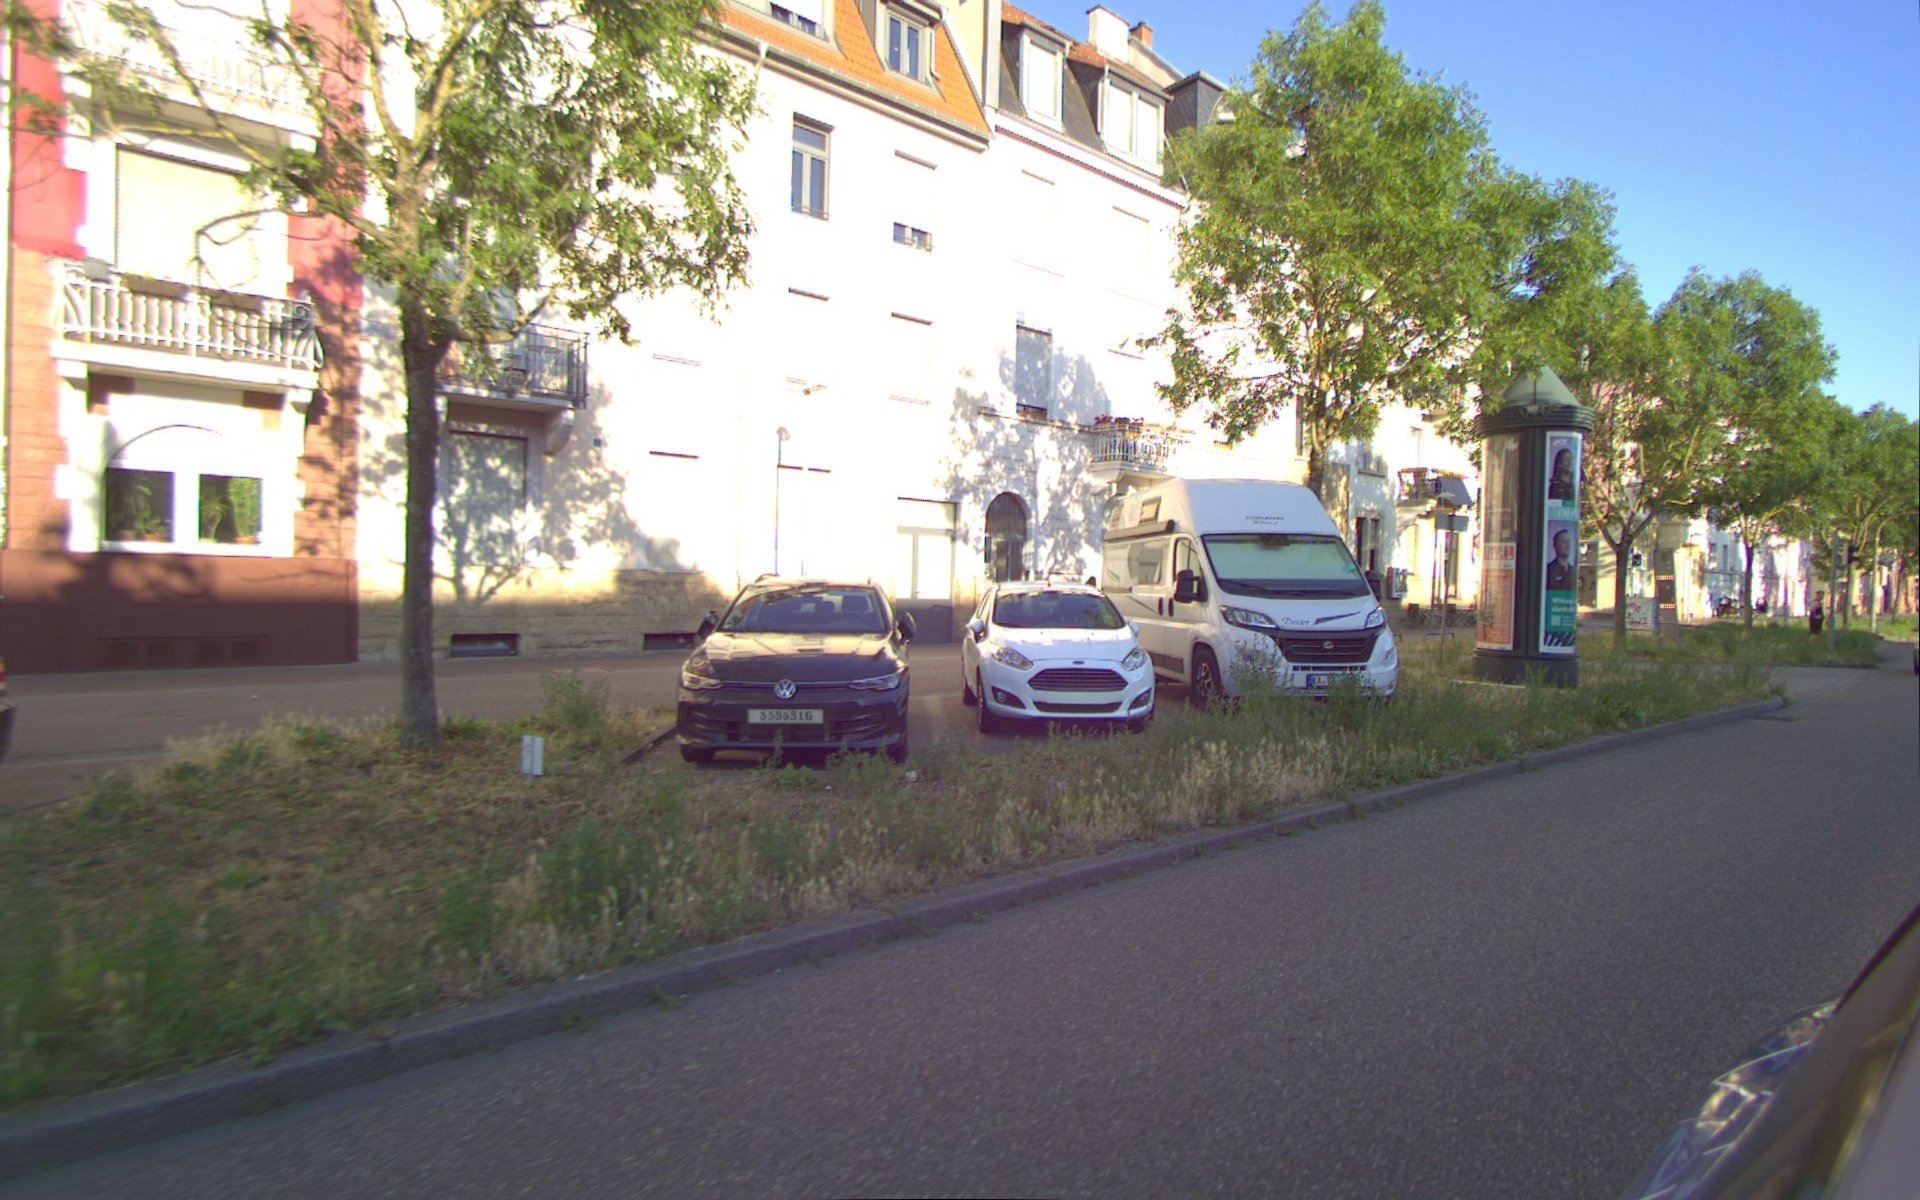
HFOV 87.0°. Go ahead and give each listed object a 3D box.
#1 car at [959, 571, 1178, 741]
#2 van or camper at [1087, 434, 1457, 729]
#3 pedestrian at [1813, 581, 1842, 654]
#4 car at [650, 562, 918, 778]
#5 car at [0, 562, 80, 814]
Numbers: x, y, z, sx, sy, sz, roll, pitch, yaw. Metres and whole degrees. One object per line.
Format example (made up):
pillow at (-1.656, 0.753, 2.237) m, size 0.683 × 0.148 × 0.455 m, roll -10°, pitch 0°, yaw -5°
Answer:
car at (0.927, 0.438, 10.637) m, size 1.761 × 1.420 × 3.925 m, roll 1°, pitch 1°, yaw -1°
van or camper at (3.423, -0.227, 12.687) m, size 2.159 × 2.847 × 5.661 m, roll 1°, pitch 1°, yaw -8°
pedestrian at (24.654, 0.497, 28.756) m, size 0.588 × 2.039 × 0.513 m, roll 1°, pitch 1°, yaw -40°
car at (-1.264, 0.424, 8.916) m, size 1.761 × 1.420 × 4.279 m, roll 1°, pitch 1°, yaw -2°
car at (-6.208, 0.502, 4.071) m, size 1.883 × 1.441 × 4.442 m, roll 1°, pitch 0°, yaw -8°
